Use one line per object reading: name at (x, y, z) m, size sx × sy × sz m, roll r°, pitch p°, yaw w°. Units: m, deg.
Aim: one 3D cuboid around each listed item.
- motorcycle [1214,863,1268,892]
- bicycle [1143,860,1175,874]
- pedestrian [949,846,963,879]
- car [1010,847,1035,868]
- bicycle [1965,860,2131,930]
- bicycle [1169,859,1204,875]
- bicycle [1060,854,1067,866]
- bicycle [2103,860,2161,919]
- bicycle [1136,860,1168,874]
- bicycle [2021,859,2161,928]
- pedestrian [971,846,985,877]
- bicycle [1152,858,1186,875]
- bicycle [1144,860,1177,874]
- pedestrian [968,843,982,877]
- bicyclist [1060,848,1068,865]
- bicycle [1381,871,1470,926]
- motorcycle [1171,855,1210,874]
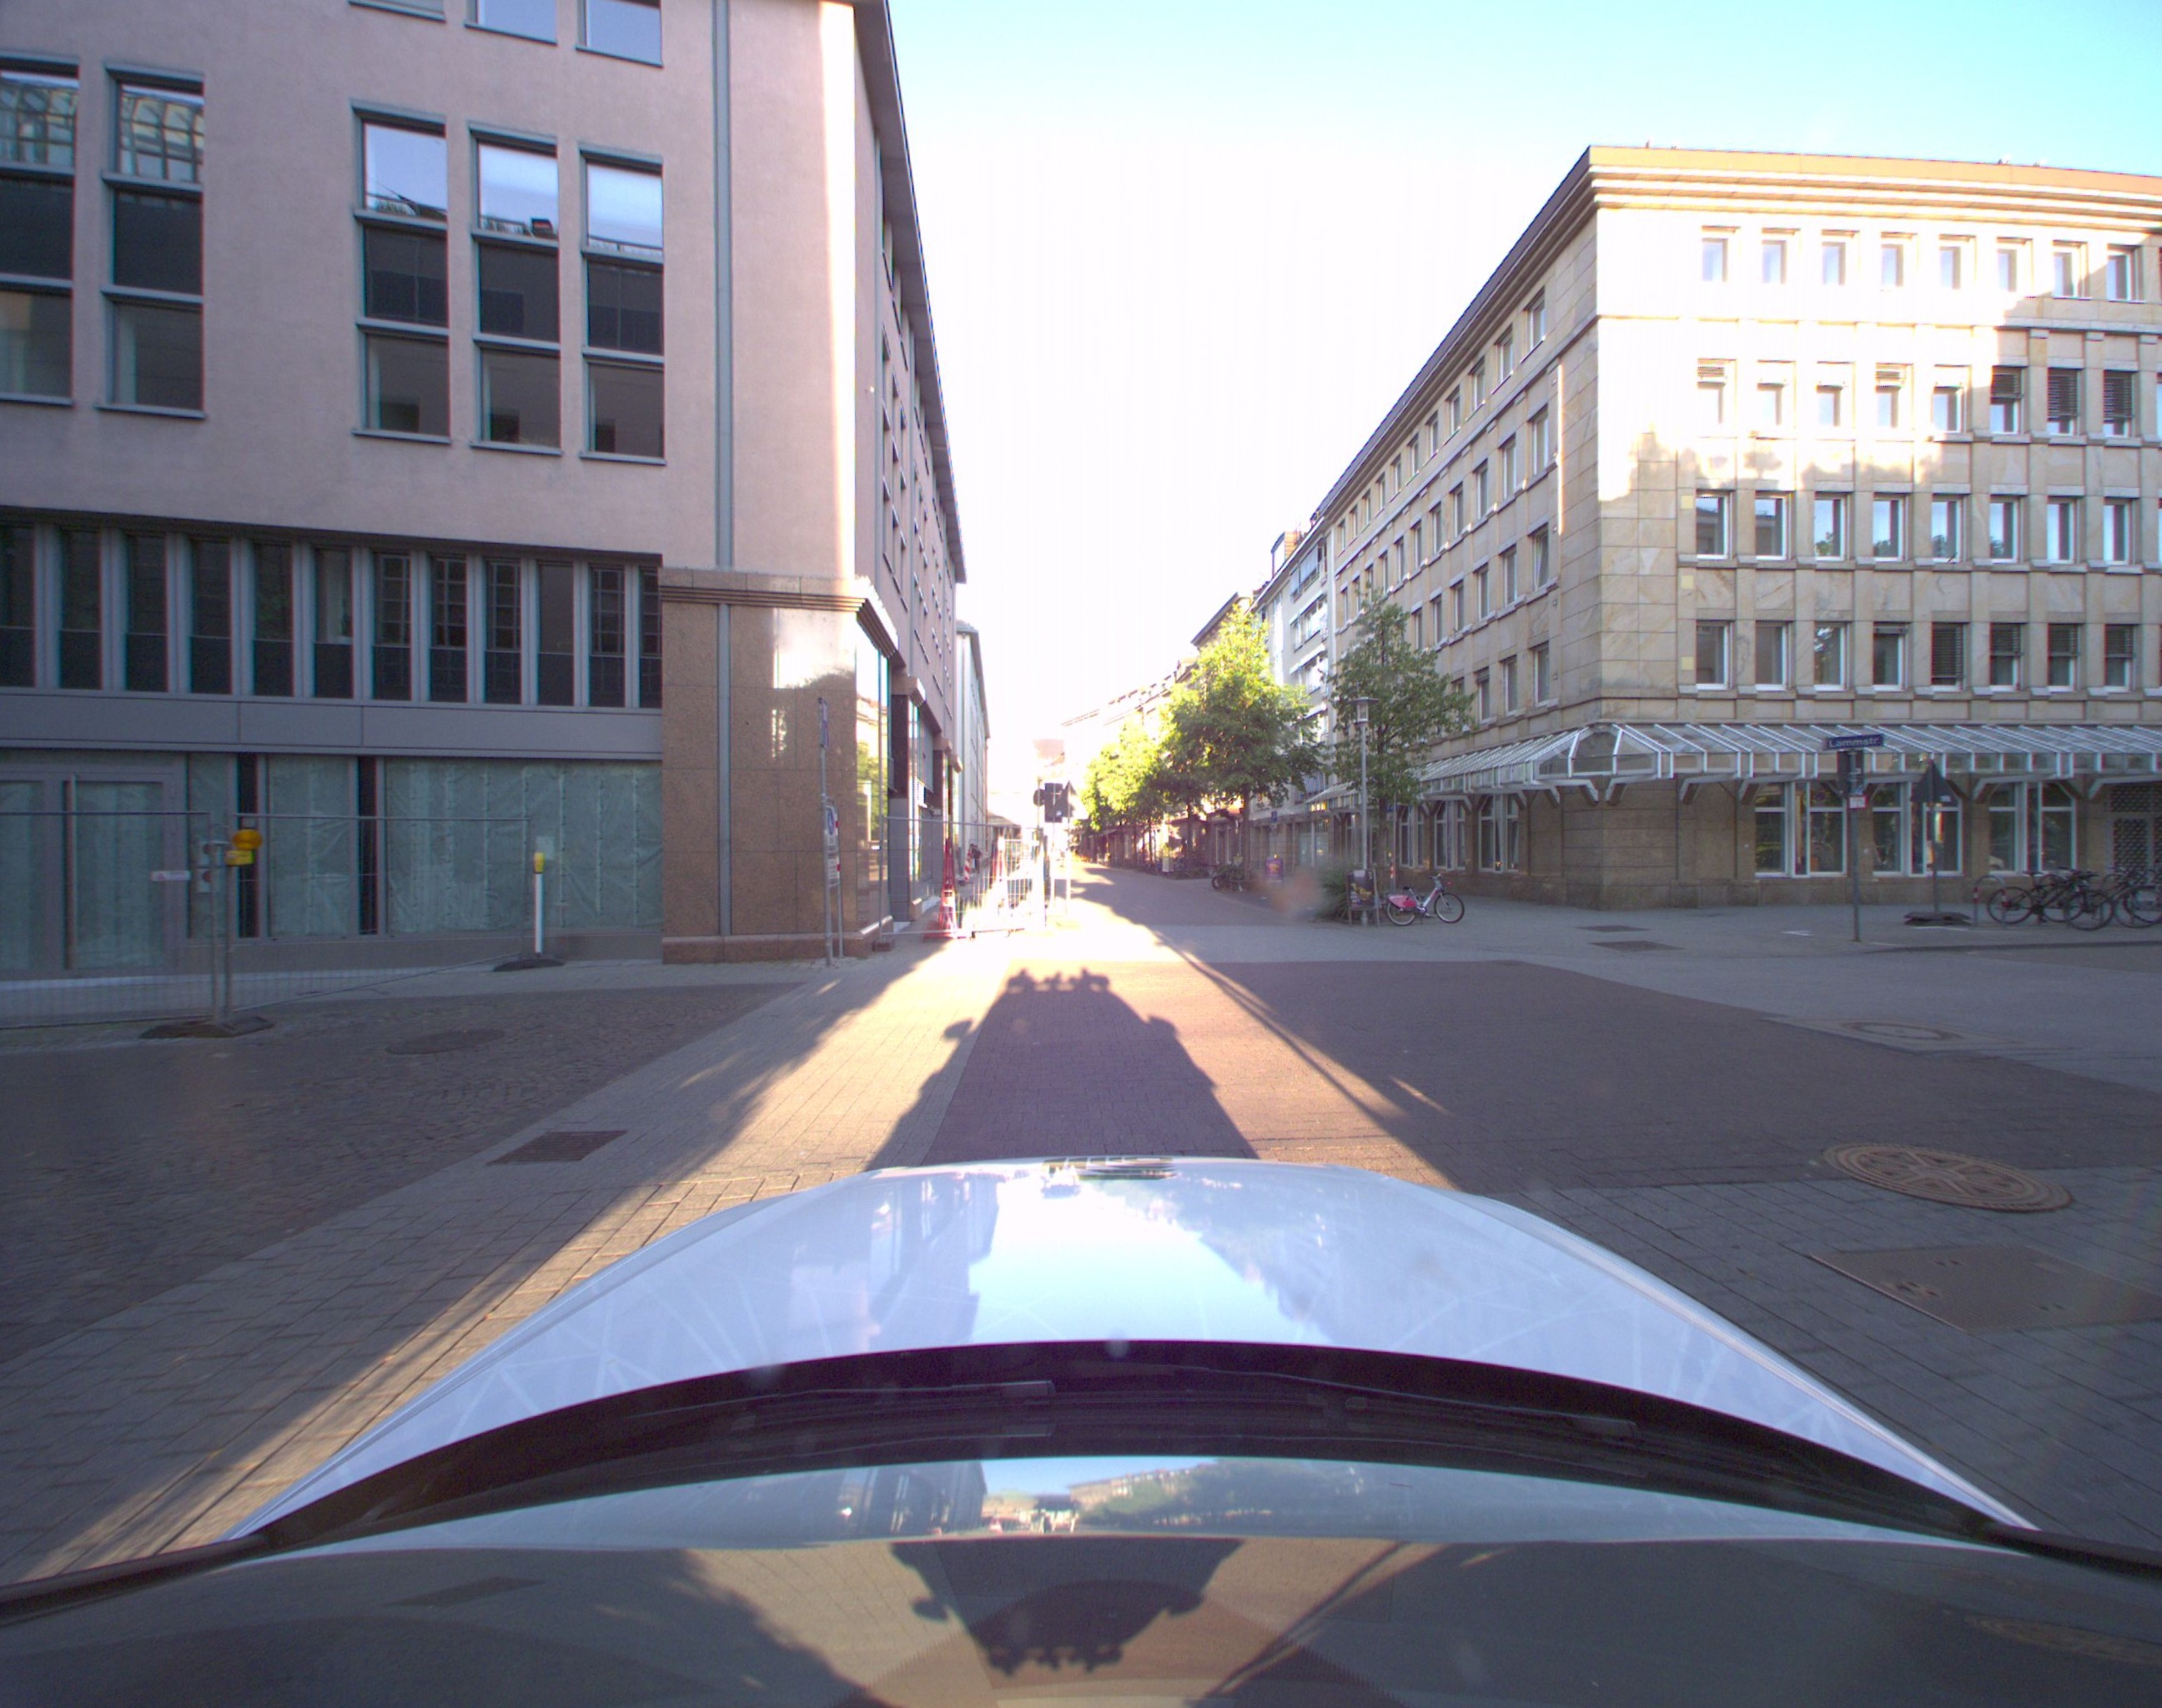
motorcycle at (6.649, 0.955, 33.837) m, size 2.150 × 1.151 × 0.493 m, roll -1°, pitch -1°, yaw -6°
bicycle at (5.452, 0.897, 56.721) m, size 2.153 × 0.926 × 0.588 m, roll -1°, pitch -1°, yaw -11°
pedestrian at (-6.678, 0.442, 43.534) m, size 0.652 × 1.725 × 0.634 m, roll -1°, pitch 0°, yaw 2°
car at (-5.001, 0.279, 69.268) m, size 1.840 × 1.684 × 3.635 m, roll -1°, pitch 0°, yaw -8°
bicycle at (16.804, 0.678, 14.237) m, size 0.541 × 1.050 × 1.948 m, roll -1°, pitch 2°, yaw -2°
bicycle at (6.638, 0.819, 51.393) m, size 2.159 × 0.926 × 0.587 m, roll -1°, pitch -1°, yaw -19°
bicycle at (-1.561, 0.537, 72.197) m, size 0.587 × 1.095 × 2.157 m, roll -1°, pitch -1°, yaw -4°
bicycle at (19.469, 0.647, 14.310) m, size 0.510 × 1.028 × 1.946 m, roll -1°, pitch 1°, yaw -4°
bicycle at (5.005, 0.921, 57.573) m, size 2.153 × 0.926 × 0.588 m, roll -1°, pitch -1°, yaw -11°
bicycle at (18.029, 0.660, 14.403) m, size 0.540 × 1.050 × 1.949 m, roll -1°, pitch 2°, yaw 0°
pedestrian at (-5.599, 0.403, 44.272) m, size 0.652 × 1.651 × 0.634 m, roll -1°, pitch 0°, yaw 2°
bicycle at (5.751, 0.835, 53.287) m, size 2.139 × 1.061 × 0.592 m, roll -1°, pitch -1°, yaw 11°
bicycle at (5.401, 0.897, 55.561) m, size 2.153 × 0.926 × 0.588 m, roll -1°, pitch -1°, yaw -11°
pedestrian at (-5.669, 0.310, 43.660) m, size 0.652 × 1.764 × 0.634 m, roll -1°, pitch 0°, yaw 2°
bicyclist at (-1.513, 0.186, 72.083) m, size 0.720 × 1.468 × 0.716 m, roll -1°, pitch 0°, yaw -5°
bicycle at (7.357, 0.960, 17.451) m, size 1.643 × 1.050 × 0.666 m, roll -3°, pitch 1°, yaw 15°
motorcycle at (6.794, 0.645, 50.366) m, size 2.483 × 1.095 × 0.586 m, roll -1°, pitch -1°, yaw -26°
